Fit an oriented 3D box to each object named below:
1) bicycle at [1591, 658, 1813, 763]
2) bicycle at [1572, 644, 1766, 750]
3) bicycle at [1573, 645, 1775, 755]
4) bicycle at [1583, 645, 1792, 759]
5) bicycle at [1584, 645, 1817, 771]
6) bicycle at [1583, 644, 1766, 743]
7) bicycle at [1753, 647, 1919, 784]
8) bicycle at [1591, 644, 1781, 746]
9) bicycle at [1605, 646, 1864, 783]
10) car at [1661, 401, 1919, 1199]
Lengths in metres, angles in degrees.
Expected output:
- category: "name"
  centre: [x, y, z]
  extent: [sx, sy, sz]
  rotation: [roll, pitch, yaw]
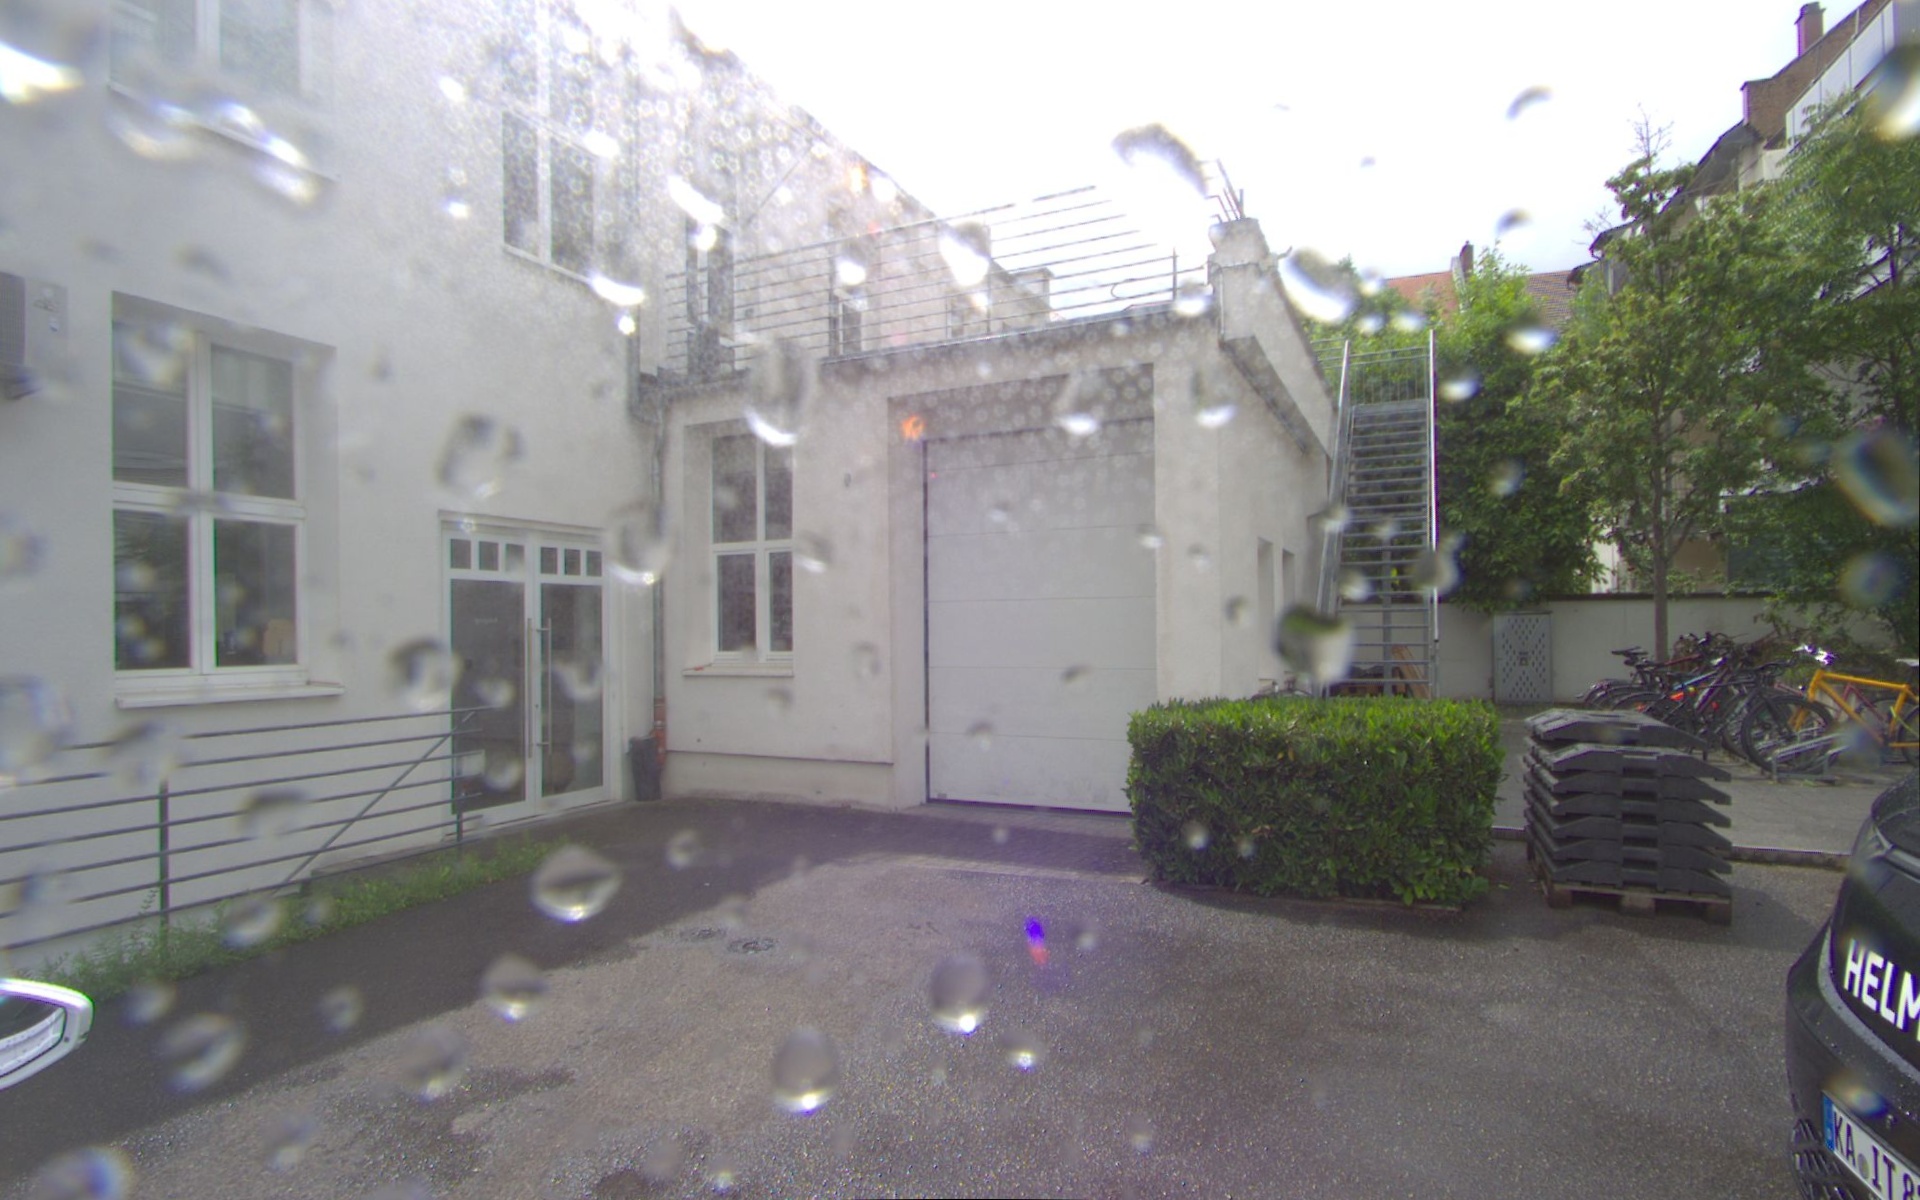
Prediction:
- category: "bicycle"
  centre: [7.405, 1.090, 10.063]
  extent: [1.765, 0.980, 0.329]
  rotation: [-1, 0, 20]
- category: "bicycle"
  centre: [7.851, 1.058, 11.153]
  extent: [1.725, 1.118, 0.345]
  rotation: [-1, 0, 20]
- category: "bicycle"
  centre: [7.608, 1.045, 10.735]
  extent: [1.725, 1.118, 0.342]
  rotation: [-1, 0, 20]
- category: "bicycle"
  centre: [7.505, 1.032, 10.392]
  extent: [1.725, 1.118, 0.332]
  rotation: [-1, 0, 20]
- category: "bicycle"
  centre: [7.089, 1.007, 9.676]
  extent: [1.768, 1.118, 0.353]
  rotation: [-1, 0, 28]
- category: "bicycle"
  centre: [8.426, 1.083, 11.868]
  extent: [1.725, 1.118, 0.341]
  rotation: [-1, 0, 20]
- category: "bicycle"
  centre: [7.893, 0.970, 8.501]
  extent: [1.768, 1.118, 0.365]
  rotation: [-1, 0, 28]
- category: "bicycle"
  centre: [8.318, 1.071, 11.531]
  extent: [1.725, 1.118, 0.354]
  rotation: [-1, 0, 20]
- category: "bicycle"
  centre: [6.820, 0.980, 8.913]
  extent: [1.768, 1.118, 0.404]
  rotation: [-1, 0, 28]
- category: "car"
  centre: [3.844, 0.550, 1.043]
  extent: [4.664, 1.888, 1.968]
  rotation: [-2, -2, 19]
